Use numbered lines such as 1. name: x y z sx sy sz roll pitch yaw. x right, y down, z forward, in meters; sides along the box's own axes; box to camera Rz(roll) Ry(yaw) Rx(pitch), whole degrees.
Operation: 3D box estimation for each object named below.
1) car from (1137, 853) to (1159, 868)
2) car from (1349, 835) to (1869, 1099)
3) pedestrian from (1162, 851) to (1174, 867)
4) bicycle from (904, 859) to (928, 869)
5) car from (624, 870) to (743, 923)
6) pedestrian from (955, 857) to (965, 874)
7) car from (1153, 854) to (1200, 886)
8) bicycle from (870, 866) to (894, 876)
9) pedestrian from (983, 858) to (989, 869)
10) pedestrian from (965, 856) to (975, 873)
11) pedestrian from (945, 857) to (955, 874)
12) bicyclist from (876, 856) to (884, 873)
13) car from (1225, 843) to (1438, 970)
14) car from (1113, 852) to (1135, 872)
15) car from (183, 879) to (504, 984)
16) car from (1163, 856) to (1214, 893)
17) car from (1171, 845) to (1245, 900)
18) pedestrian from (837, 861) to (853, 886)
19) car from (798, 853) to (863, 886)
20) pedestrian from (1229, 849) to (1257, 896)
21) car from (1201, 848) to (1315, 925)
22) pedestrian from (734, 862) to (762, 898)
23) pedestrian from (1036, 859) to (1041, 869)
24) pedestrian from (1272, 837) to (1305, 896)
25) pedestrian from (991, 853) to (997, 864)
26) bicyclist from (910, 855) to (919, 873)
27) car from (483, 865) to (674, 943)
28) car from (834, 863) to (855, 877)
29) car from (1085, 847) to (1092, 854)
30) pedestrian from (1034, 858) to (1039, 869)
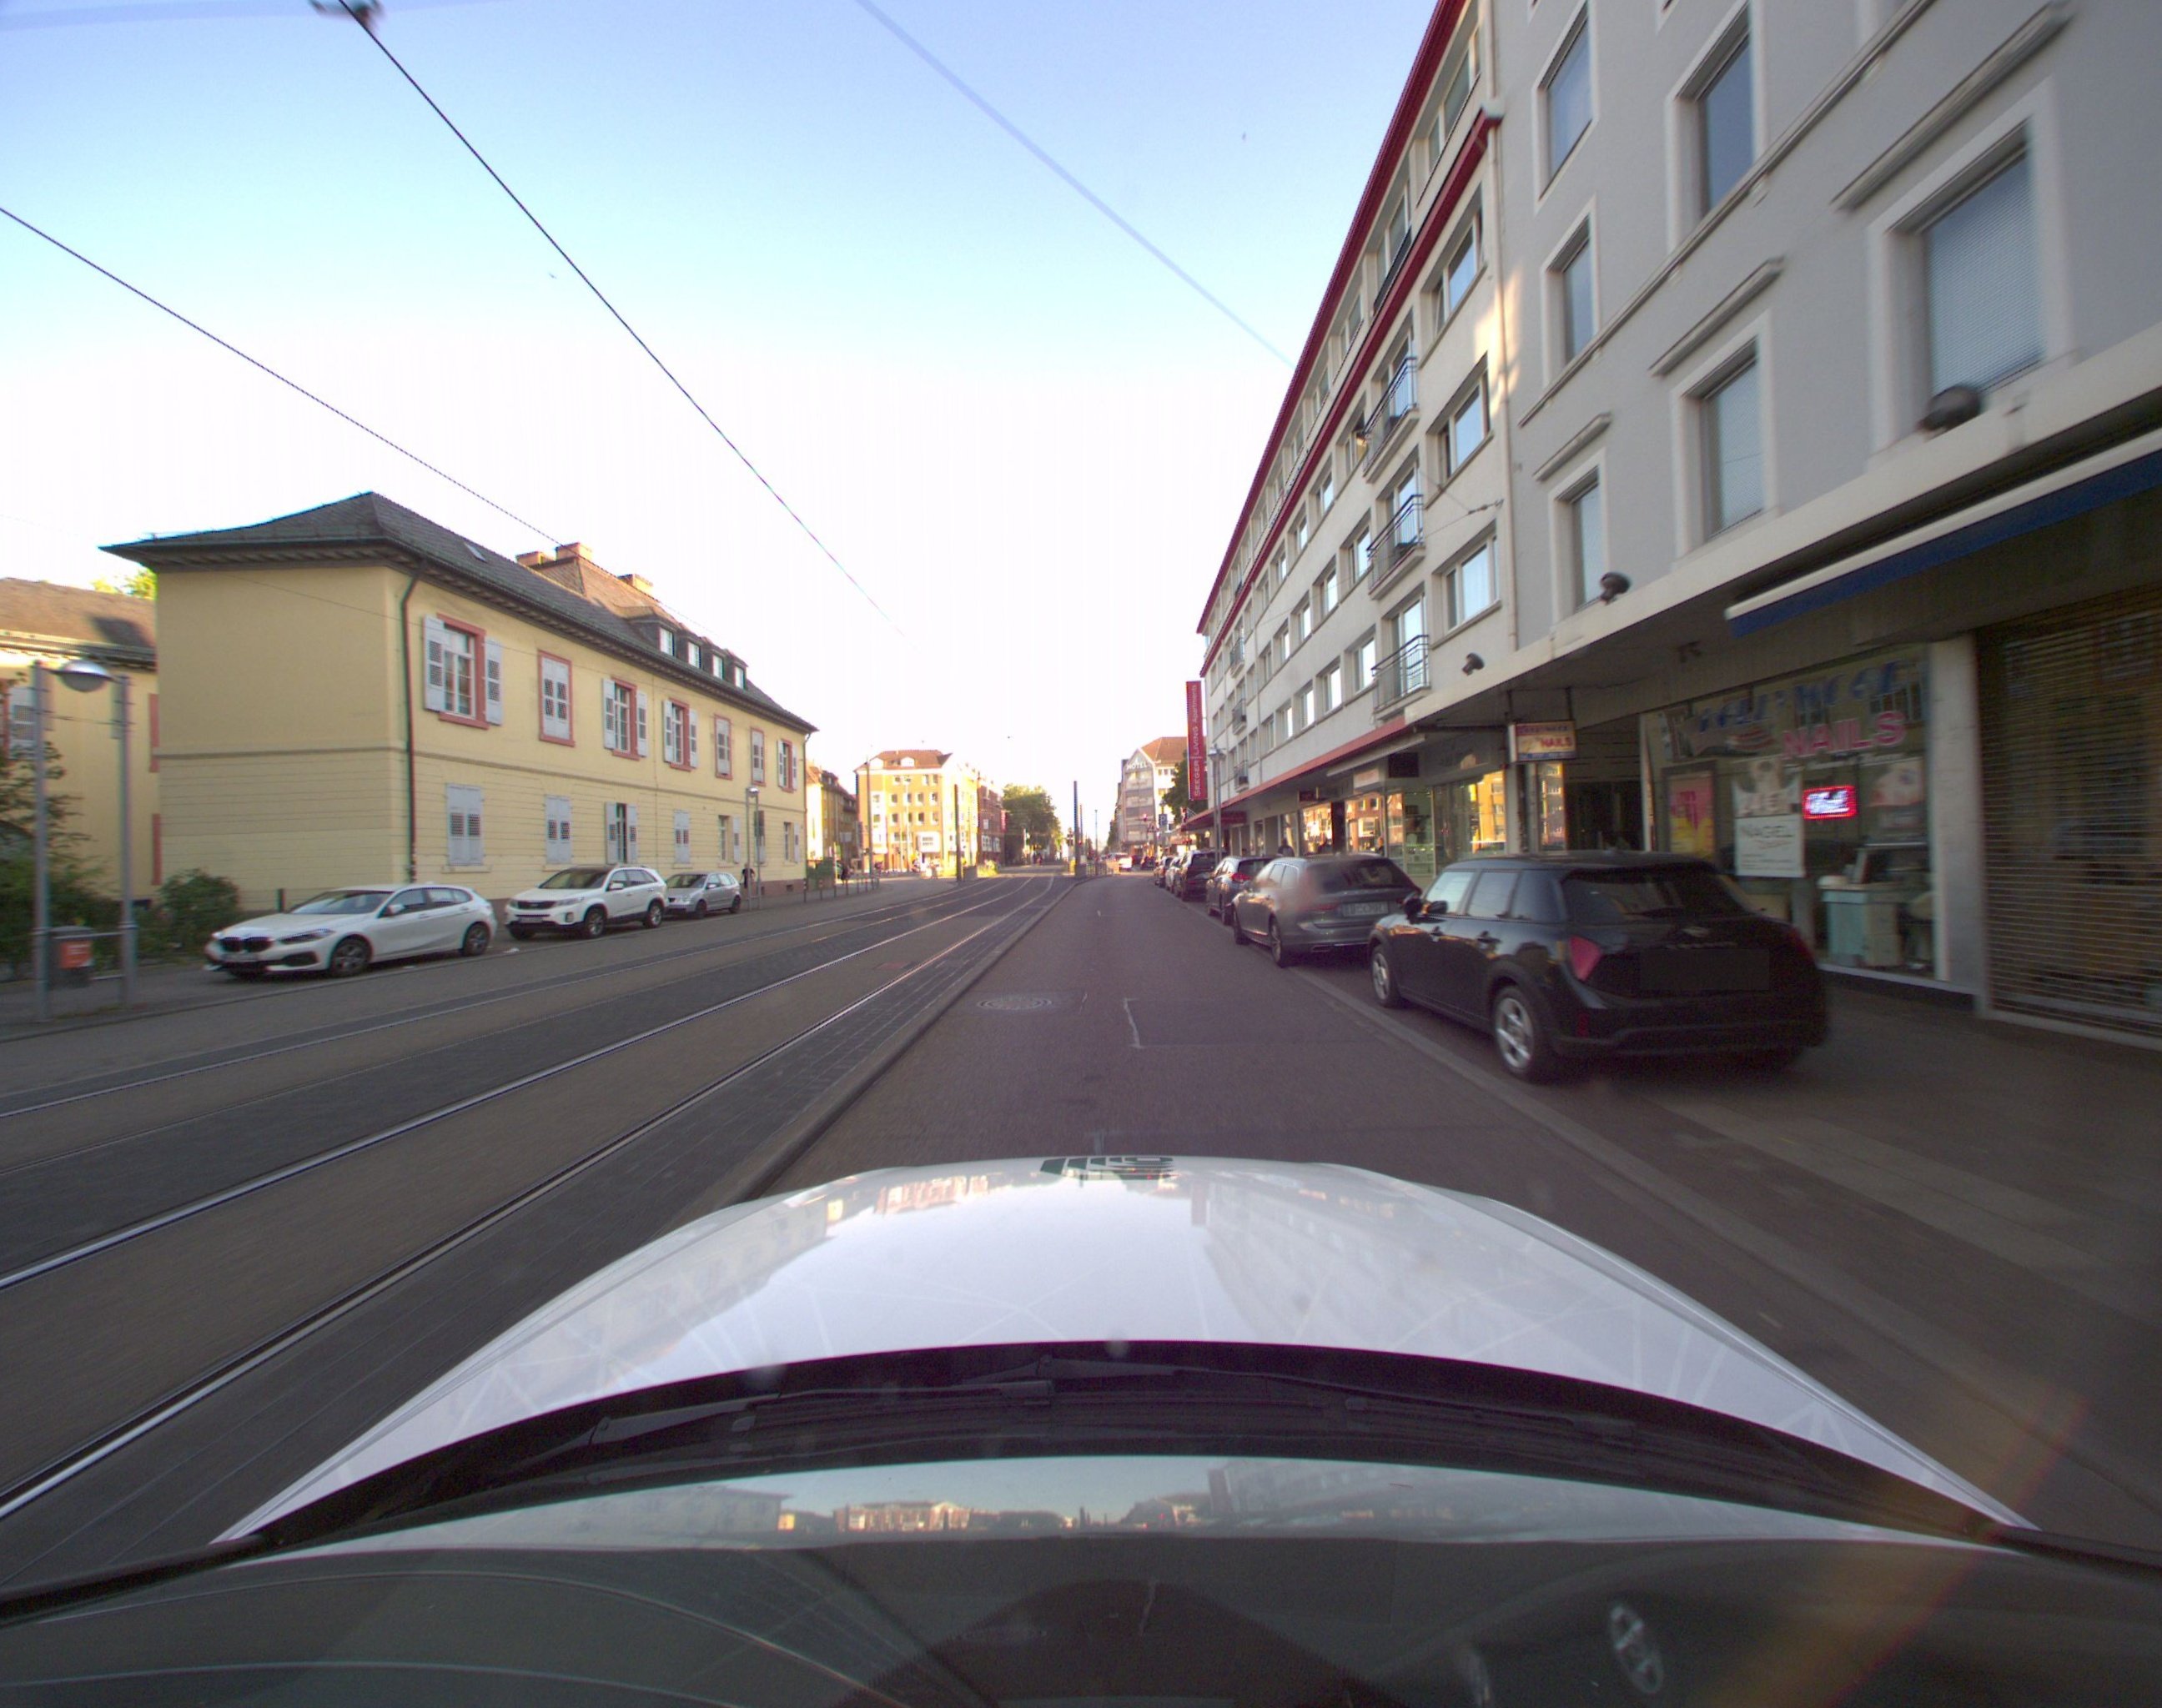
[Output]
1. car: 6.761 0.667 82.565 1.759 1.440 3.999 -2 0 0
2. car: 3.636 0.656 6.603 1.719 1.481 4.001 0 -1 2
3. pedestrian: 9.379 0.556 87.443 0.828 1.685 1.038 0 -1 -29
4. bicycle: -18.898 1.127 93.279 2.647 1.099 0.433 0 -1 -18
5. car: -12.583 1.291 26.068 1.742 1.474 4.001 0 0 1
6. pedestrian: -10.018 0.948 67.392 0.662 1.375 0.651 -1 0 -1
7. car: 4.432 0.740 38.480 1.783 1.413 4.688 0 -1 1
8. bicycle: -22.746 1.904 93.041 2.647 1.099 0.433 0 -1 -18
9. pedestrian: -17.002 1.736 145.781 1.090 2.014 0.908 0 -1 -1
10. pedestrian: -9.201 0.890 67.605 0.662 1.375 0.651 -2 0 -1
11. pedestrian: -10.806 0.955 67.343 0.662 1.375 0.651 -2 0 -1
12. bicyclist: -22.926 1.211 93.004 0.863 2.014 0.642 0 -1 -18
13. car: 3.469 0.659 12.298 1.785 1.533 4.857 0 -1 1
14. car: 3.824 0.707 72.434 1.828 1.636 4.093 -3 -2 3
15. car: -12.660 1.244 14.448 1.715 1.453 4.284 0 0 1
16. car: 4.309 0.791 33.154 1.645 1.421 4.192 0 -1 2
17. car: 4.131 0.588 27.132 1.849 1.701 4.419 0 -1 1
18. pedestrian: -14.512 1.182 50.048 0.717 1.536 0.718 -2 -1 -3
19. car: -16.653 0.994 54.421 3.994 2.013 1.990 -2 0 -15
20. pedestrian: 5.635 0.628 28.379 0.730 1.574 0.967 -2 0 1
21. car: 3.850 0.644 18.451 1.774 1.522 4.358 0 0 2
22. pedestrian: -14.271 1.108 34.934 0.796 1.542 0.878 0 -1 3
23. pedestrian: -7.438 1.737 141.344 0.801 1.664 0.704 0 -1 4
24. pedestrian: 6.926 0.414 27.239 0.772 1.880 0.934 -2 -1 0
25. pedestrian: -16.100 0.809 151.133 1.090 2.014 1.162 0 -1 -1
26. bicyclist: -19.050 1.172 93.241 0.863 2.014 0.642 0 -1 -19
27. car: -12.375 1.143 20.518 1.881 1.661 4.760 0 0 0
28. car: -25.114 1.722 86.477 1.773 1.376 4.192 -1 0 -21
29. car: 2.175 -0.968 229.622 1.985 1.901 4.002 0 -1 3
30. pedestrian: -7.778 1.661 142.043 0.802 1.823 0.704 0 -1 4
